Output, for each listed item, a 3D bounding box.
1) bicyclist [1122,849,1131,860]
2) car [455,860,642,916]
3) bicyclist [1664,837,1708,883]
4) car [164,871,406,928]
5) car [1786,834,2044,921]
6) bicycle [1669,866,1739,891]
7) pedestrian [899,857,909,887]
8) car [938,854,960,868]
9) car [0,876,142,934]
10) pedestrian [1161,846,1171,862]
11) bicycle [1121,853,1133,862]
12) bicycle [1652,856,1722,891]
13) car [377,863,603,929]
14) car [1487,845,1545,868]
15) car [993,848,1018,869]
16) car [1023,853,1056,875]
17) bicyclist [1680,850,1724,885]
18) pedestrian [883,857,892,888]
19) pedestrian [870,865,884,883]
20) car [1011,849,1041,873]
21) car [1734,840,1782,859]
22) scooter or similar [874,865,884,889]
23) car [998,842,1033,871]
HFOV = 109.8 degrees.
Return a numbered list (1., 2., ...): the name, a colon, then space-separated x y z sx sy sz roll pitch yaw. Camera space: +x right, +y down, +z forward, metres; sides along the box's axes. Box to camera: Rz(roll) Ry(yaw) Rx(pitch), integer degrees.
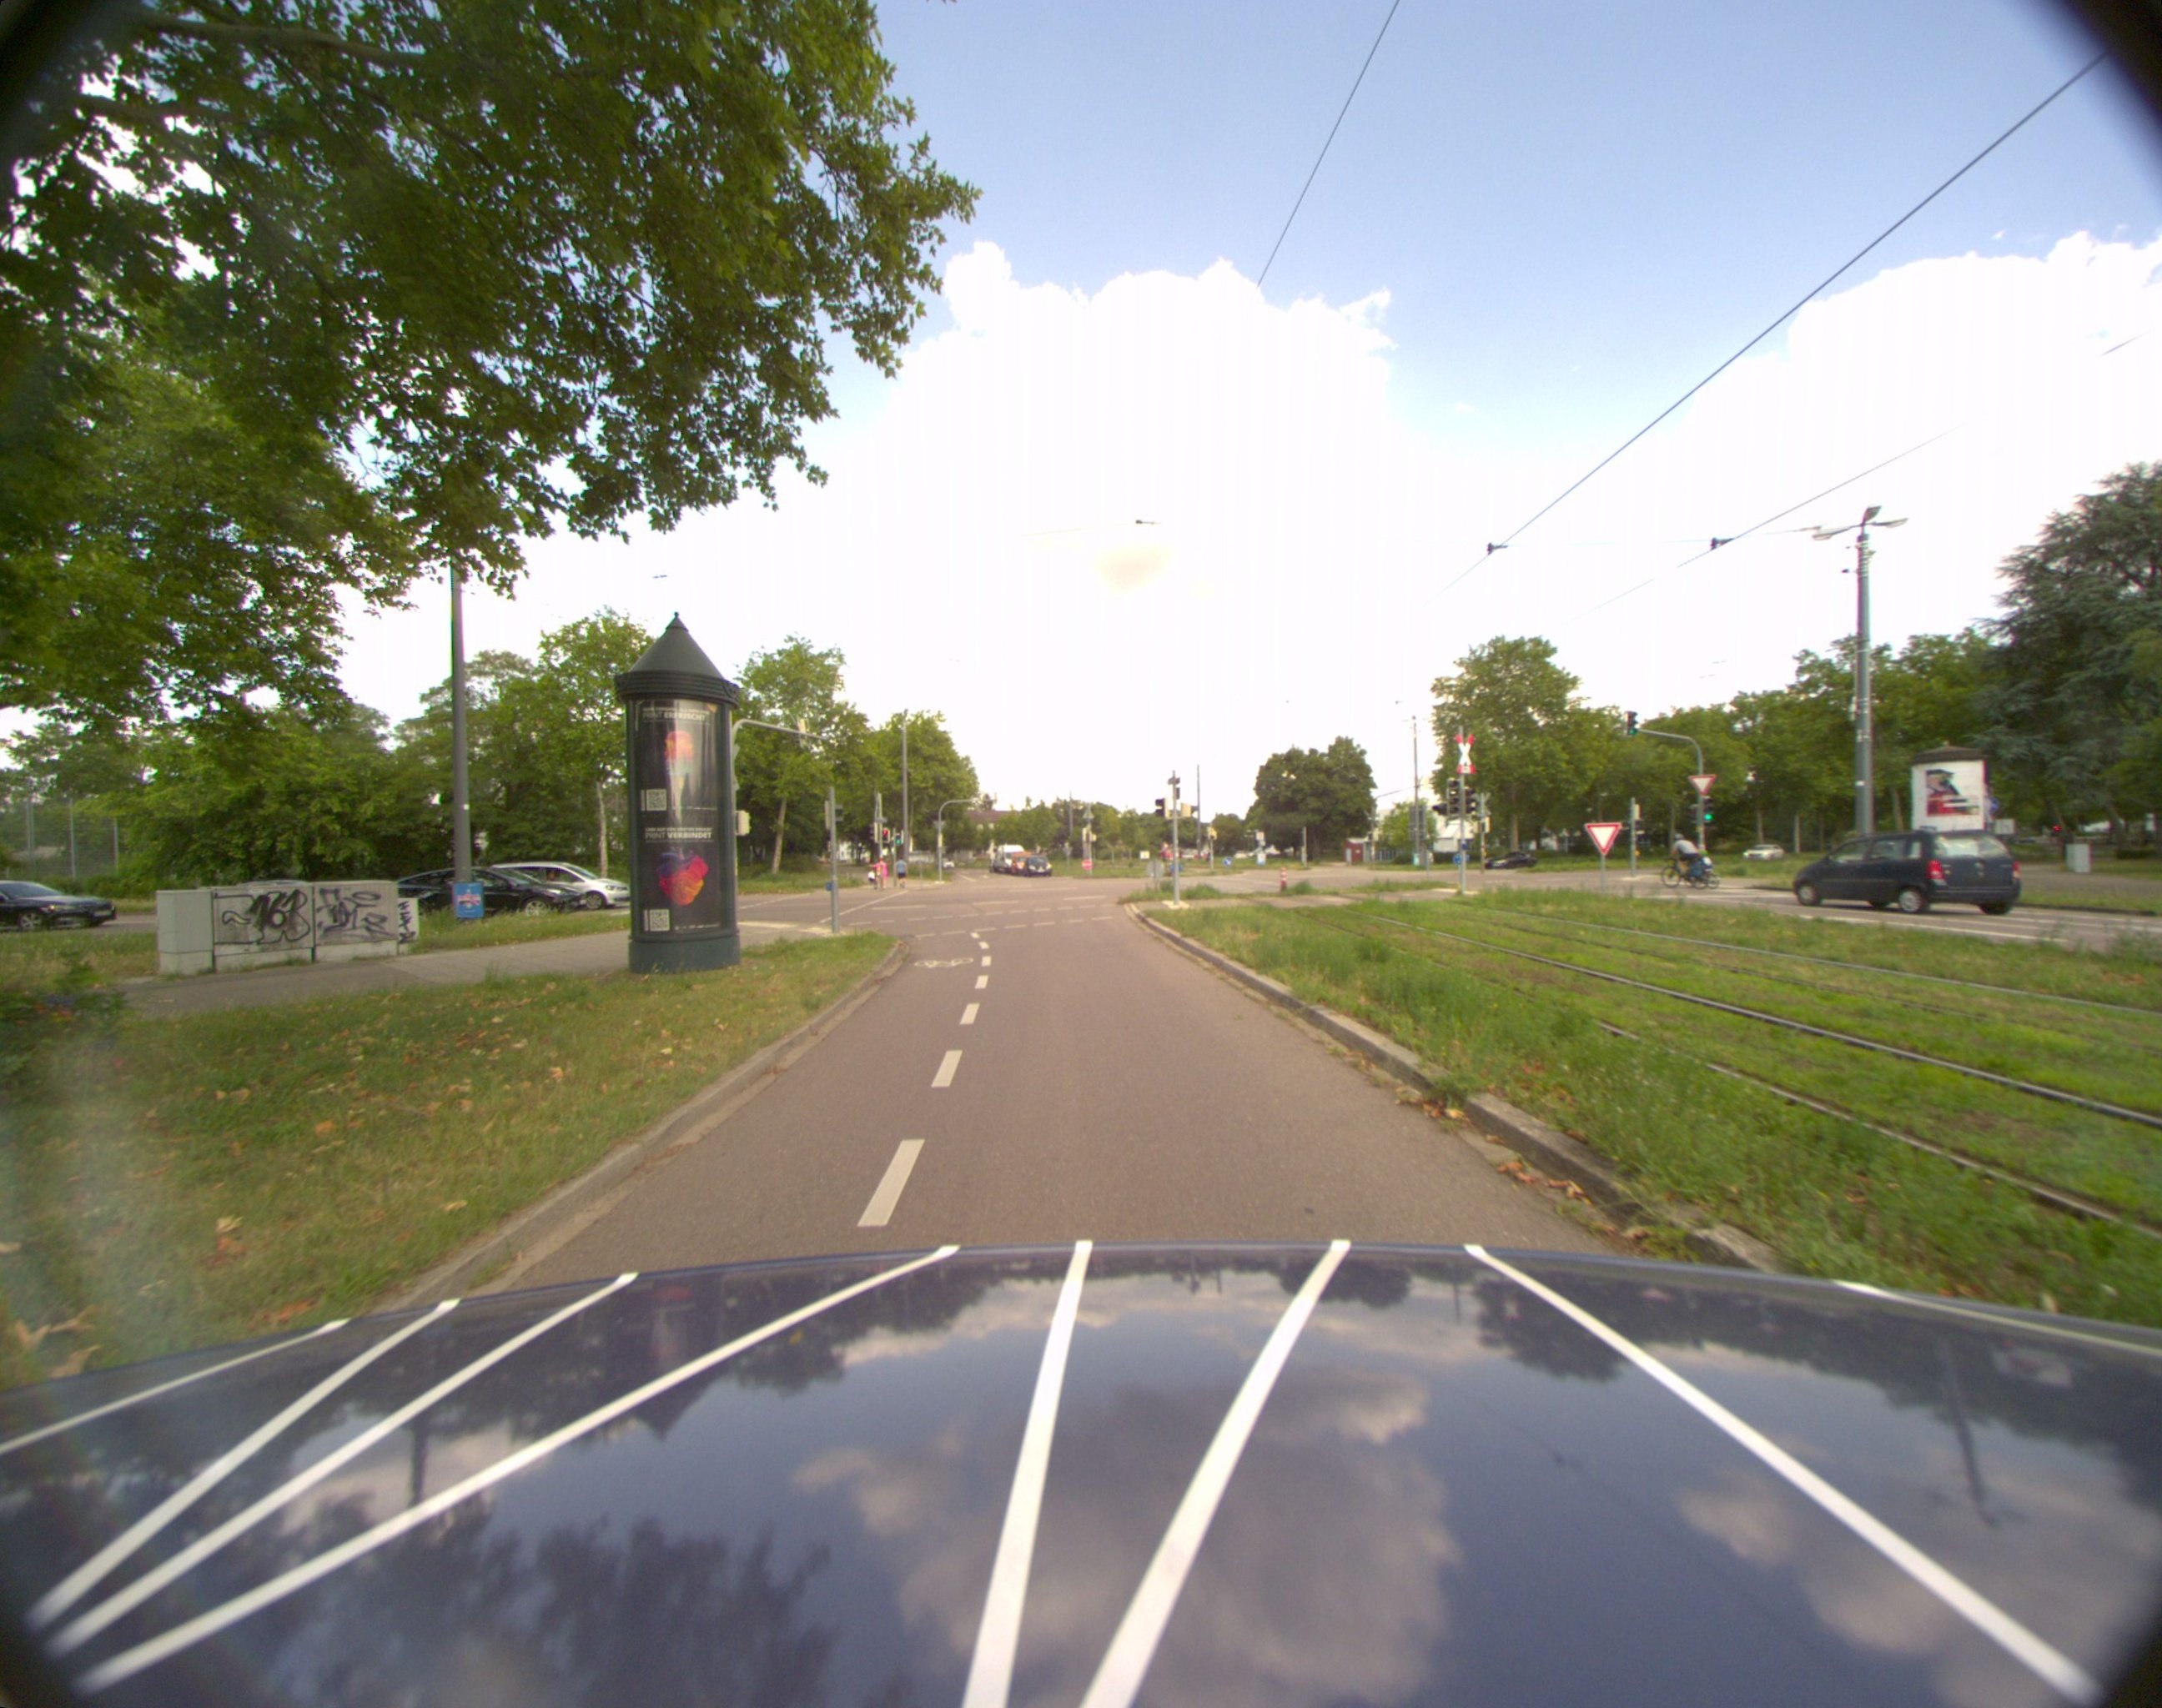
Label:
1. bicyclist: 6.144 0.040 102.621 0.805 1.461 0.831 -2 -1 -21
2. car: -17.700 1.079 25.530 4.689 1.601 1.997 -1 1 -15
3. bicyclist: 19.601 0.198 24.632 0.625 1.449 0.928 -1 1 -8
4. car: -24.316 1.350 23.447 4.752 1.461 1.997 -1 1 -15
5. car: 17.243 0.411 15.997 1.782 1.617 3.496 -1 1 6
6. bicycle: 20.261 0.777 24.740 0.648 0.713 1.803 -1 1 -8
7. pedestrian: -8.858 0.893 38.068 0.419 1.499 0.450 -1 1 -15
8. car: -17.449 0.909 100.308 1.870 1.635 4.226 -2 1 -21
9. car: -31.165 1.489 21.989 4.689 1.505 1.997 -1 1 -15
10. pedestrian: 9.892 -0.003 88.397 0.909 1.857 1.001 -1 1 -17
11. bicycle: 6.211 0.494 102.490 0.805 1.053 2.066 -2 -1 -21
12. bicycle: 19.596 0.619 24.617 0.648 1.073 1.803 -1 1 -8
13. car: -16.804 1.153 21.898 4.689 1.601 1.997 -1 1 -14
14. car: 31.029 0.141 54.210 3.862 1.515 1.695 -1 1 -26
15. car: -7.466 0.411 74.705 1.797 1.924 4.363 -2 1 -14
16. car: -3.146 0.734 56.866 1.797 1.530 3.995 -2 1 -13
17. bicyclist: 20.250 0.421 24.777 0.641 1.106 0.928 -1 1 -8
18. pedestrian: -9.673 0.918 37.960 0.419 1.499 0.392 -1 1 -15
19. pedestrian: -11.799 1.145 43.903 0.723 1.028 0.900 -1 1 -14
20. car: -4.586 0.552 62.785 1.797 1.924 4.363 -2 1 -13
21. car: 58.186 -0.419 65.307 3.916 1.515 1.696 -1 1 -25
22. scooter or similar: -10.004 1.132 37.674 0.395 1.154 1.115 -1 1 -18
23. car: -6.032 0.220 69.157 2.241 2.492 5.718 -2 1 -14
